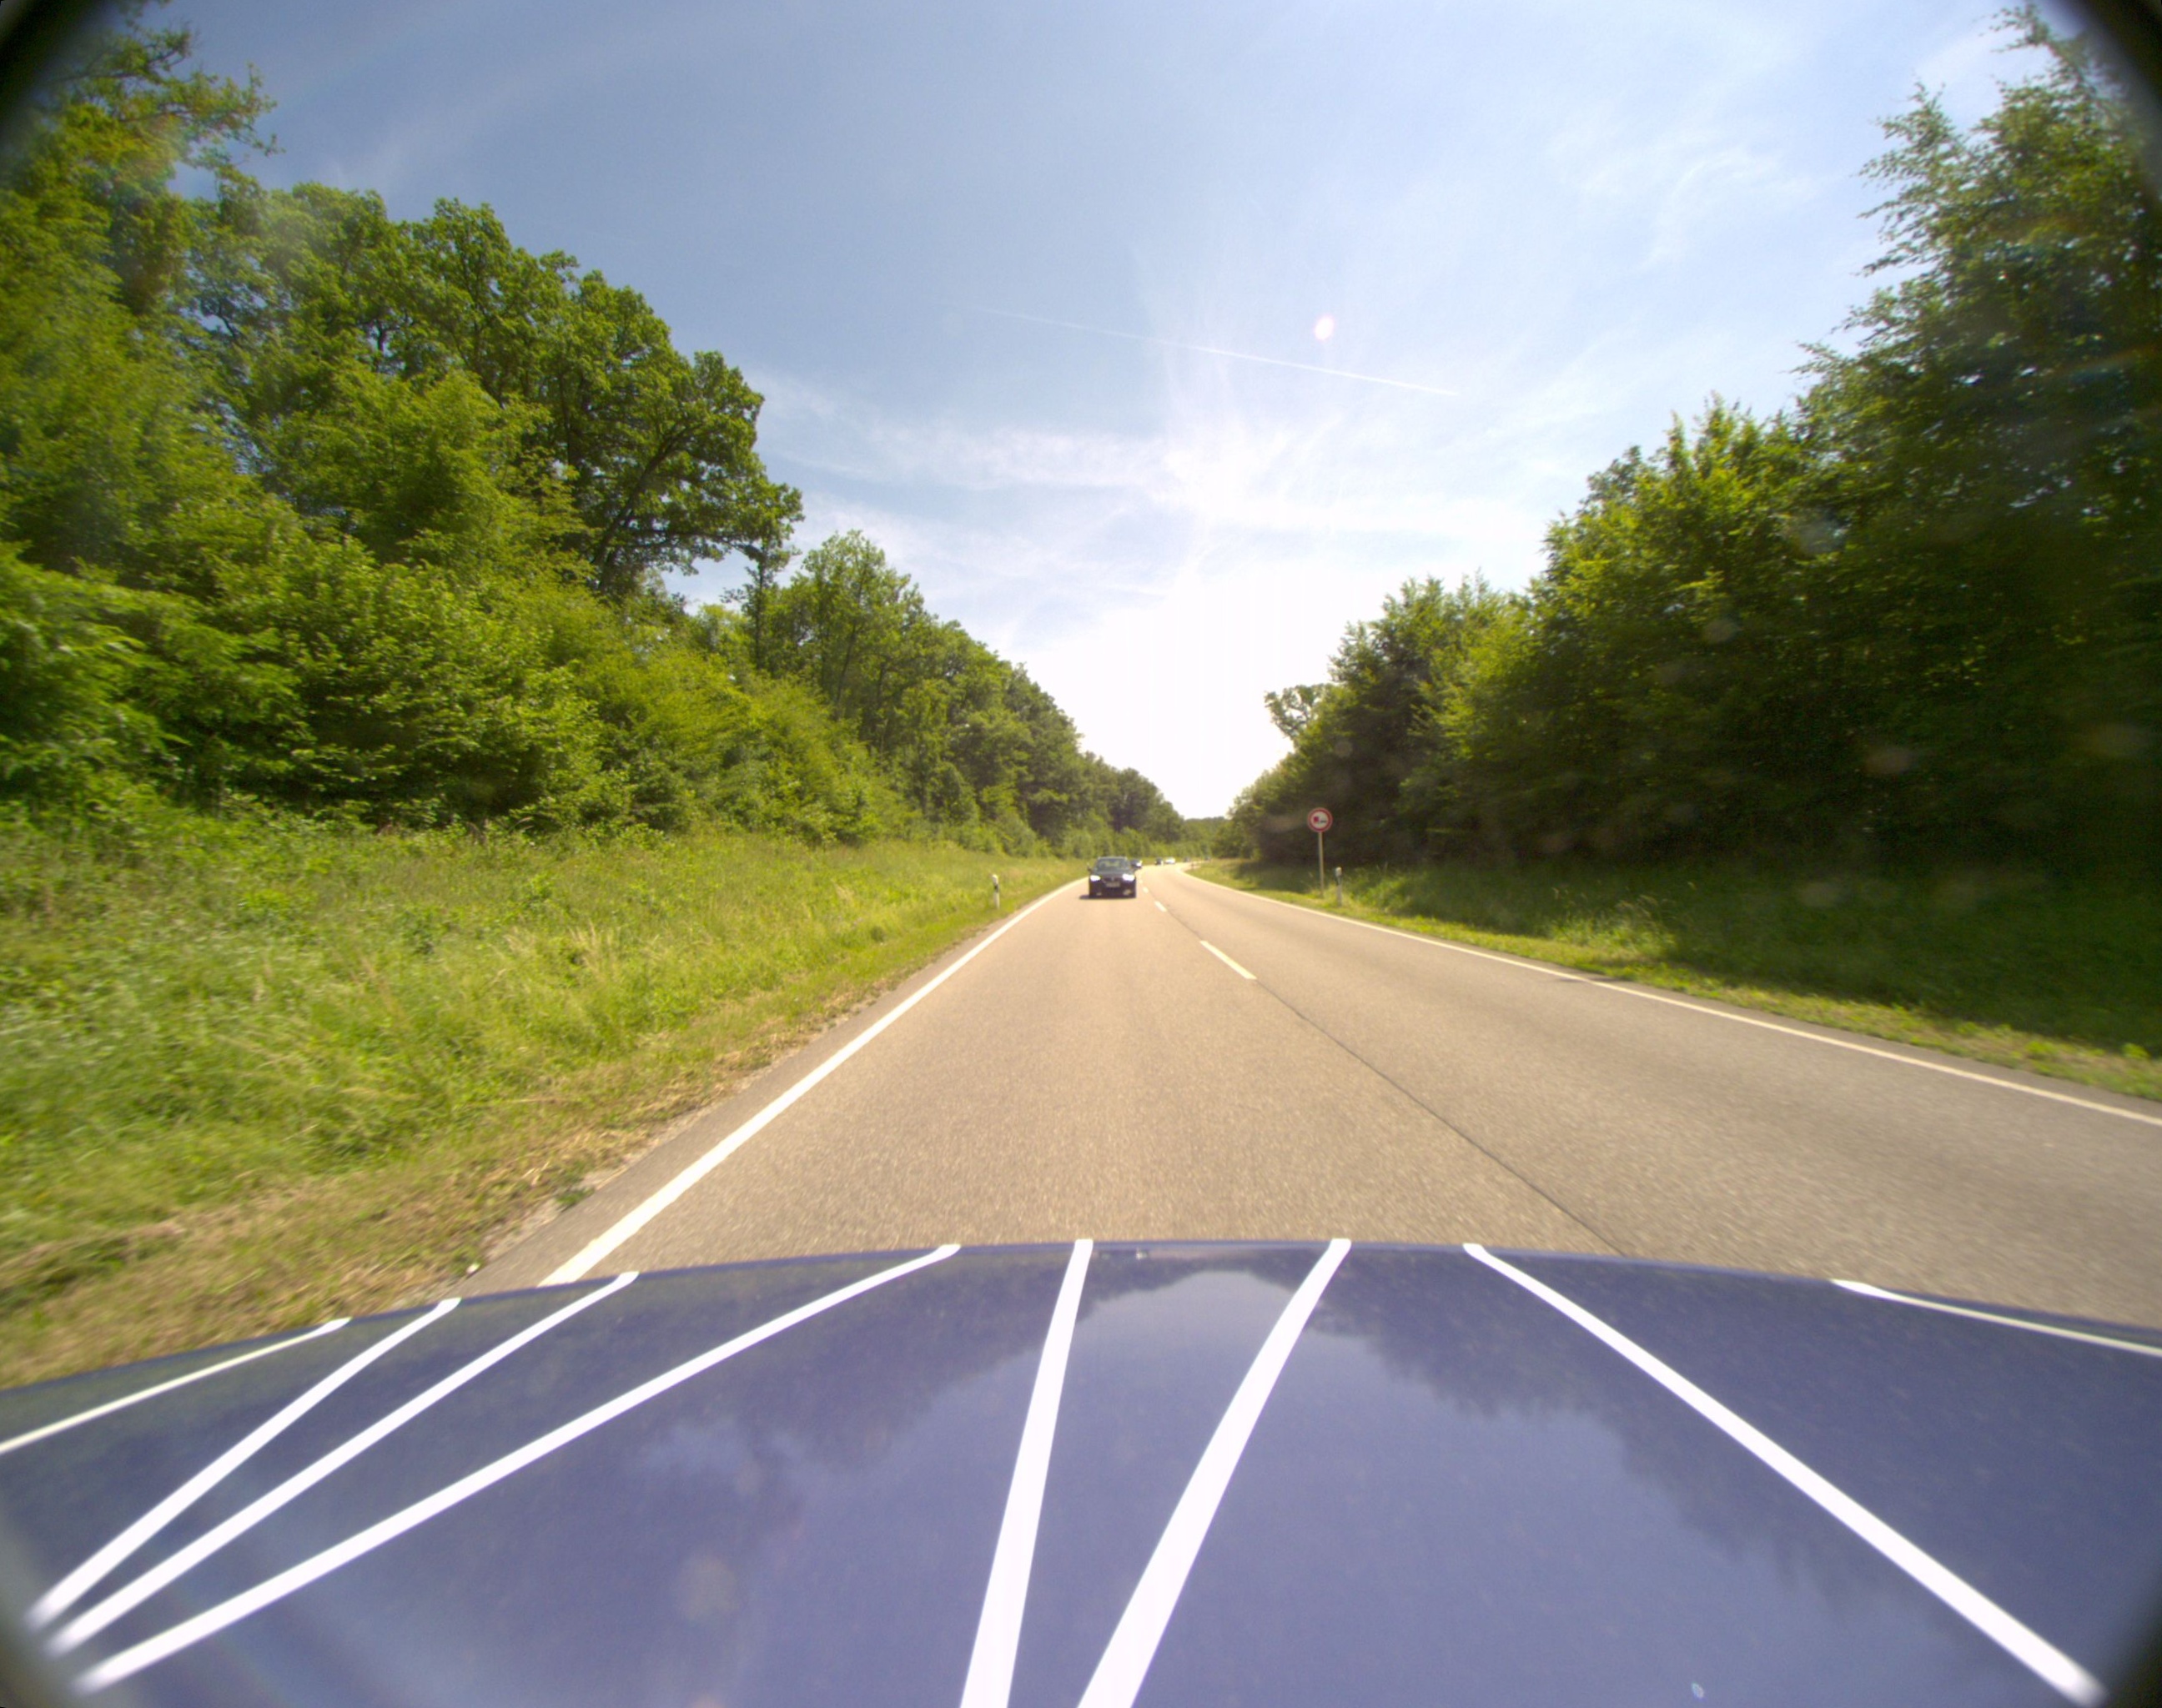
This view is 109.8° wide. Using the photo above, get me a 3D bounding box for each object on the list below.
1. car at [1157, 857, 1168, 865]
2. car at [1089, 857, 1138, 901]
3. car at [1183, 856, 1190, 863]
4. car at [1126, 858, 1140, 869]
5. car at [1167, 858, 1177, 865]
[{"bbox_3d":[16.338,1.421,152.777,1.774,1.454,4.004,-1,0,12],"label":"car"},{"bbox_3d":[1.279,0.910,29.224,1.713,1.516,4.243,-1,0,3],"label":"car"},{"bbox_3d":[29.462,1.496,212.528,1.691,1.718,4.003,-1,0,11],"label":"car"},{"bbox_3d":[7.052,1.227,102.842,1.775,1.454,3.950,-1,0,7],"label":"car"},{"bbox_3d":[21.476,1.729,179.059,2.017,1.737,4.385,-1,0,12],"label":"car"}]
